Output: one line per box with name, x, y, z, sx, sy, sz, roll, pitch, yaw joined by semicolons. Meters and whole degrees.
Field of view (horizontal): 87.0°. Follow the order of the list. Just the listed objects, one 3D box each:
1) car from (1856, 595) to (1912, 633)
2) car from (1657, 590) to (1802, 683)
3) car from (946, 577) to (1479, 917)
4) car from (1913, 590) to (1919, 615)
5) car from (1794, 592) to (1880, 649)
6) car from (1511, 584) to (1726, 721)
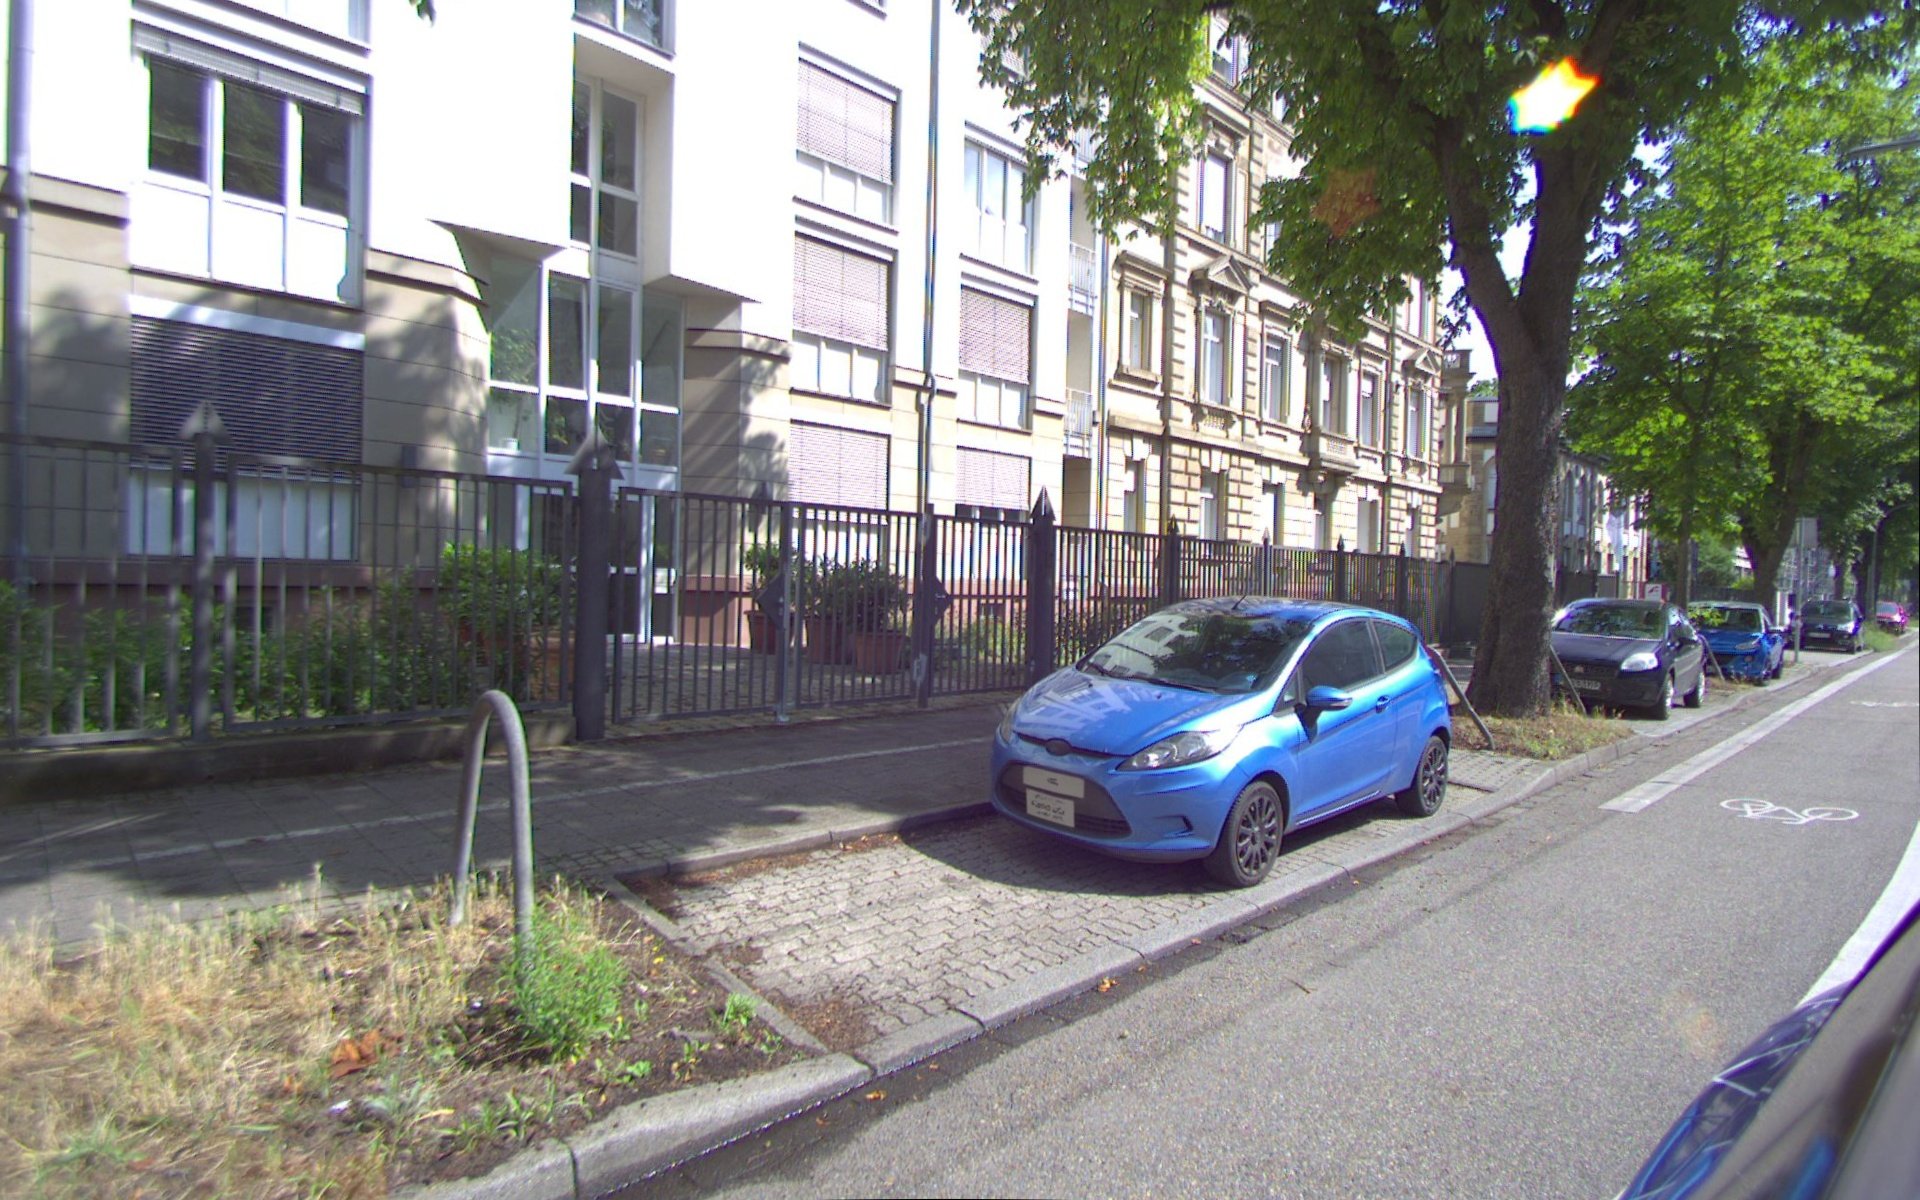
car;43.949;0.637;48.100;1.741;1.592;3.867;6;4;44
car;14.792;0.621;19.384;1.676;1.494;3.602;6;4;44
car;1.804;0.677;6.574;3.600;1.494;1.644;0;4;-44
car;61.946;0.210;64.370;1.741;1.592;3.867;6;4;44
car;27.892;0.597;32.158;1.741;1.592;3.602;6;4;45
car;9.007;0.600;13.728;1.676;1.494;3.602;6;4;44
